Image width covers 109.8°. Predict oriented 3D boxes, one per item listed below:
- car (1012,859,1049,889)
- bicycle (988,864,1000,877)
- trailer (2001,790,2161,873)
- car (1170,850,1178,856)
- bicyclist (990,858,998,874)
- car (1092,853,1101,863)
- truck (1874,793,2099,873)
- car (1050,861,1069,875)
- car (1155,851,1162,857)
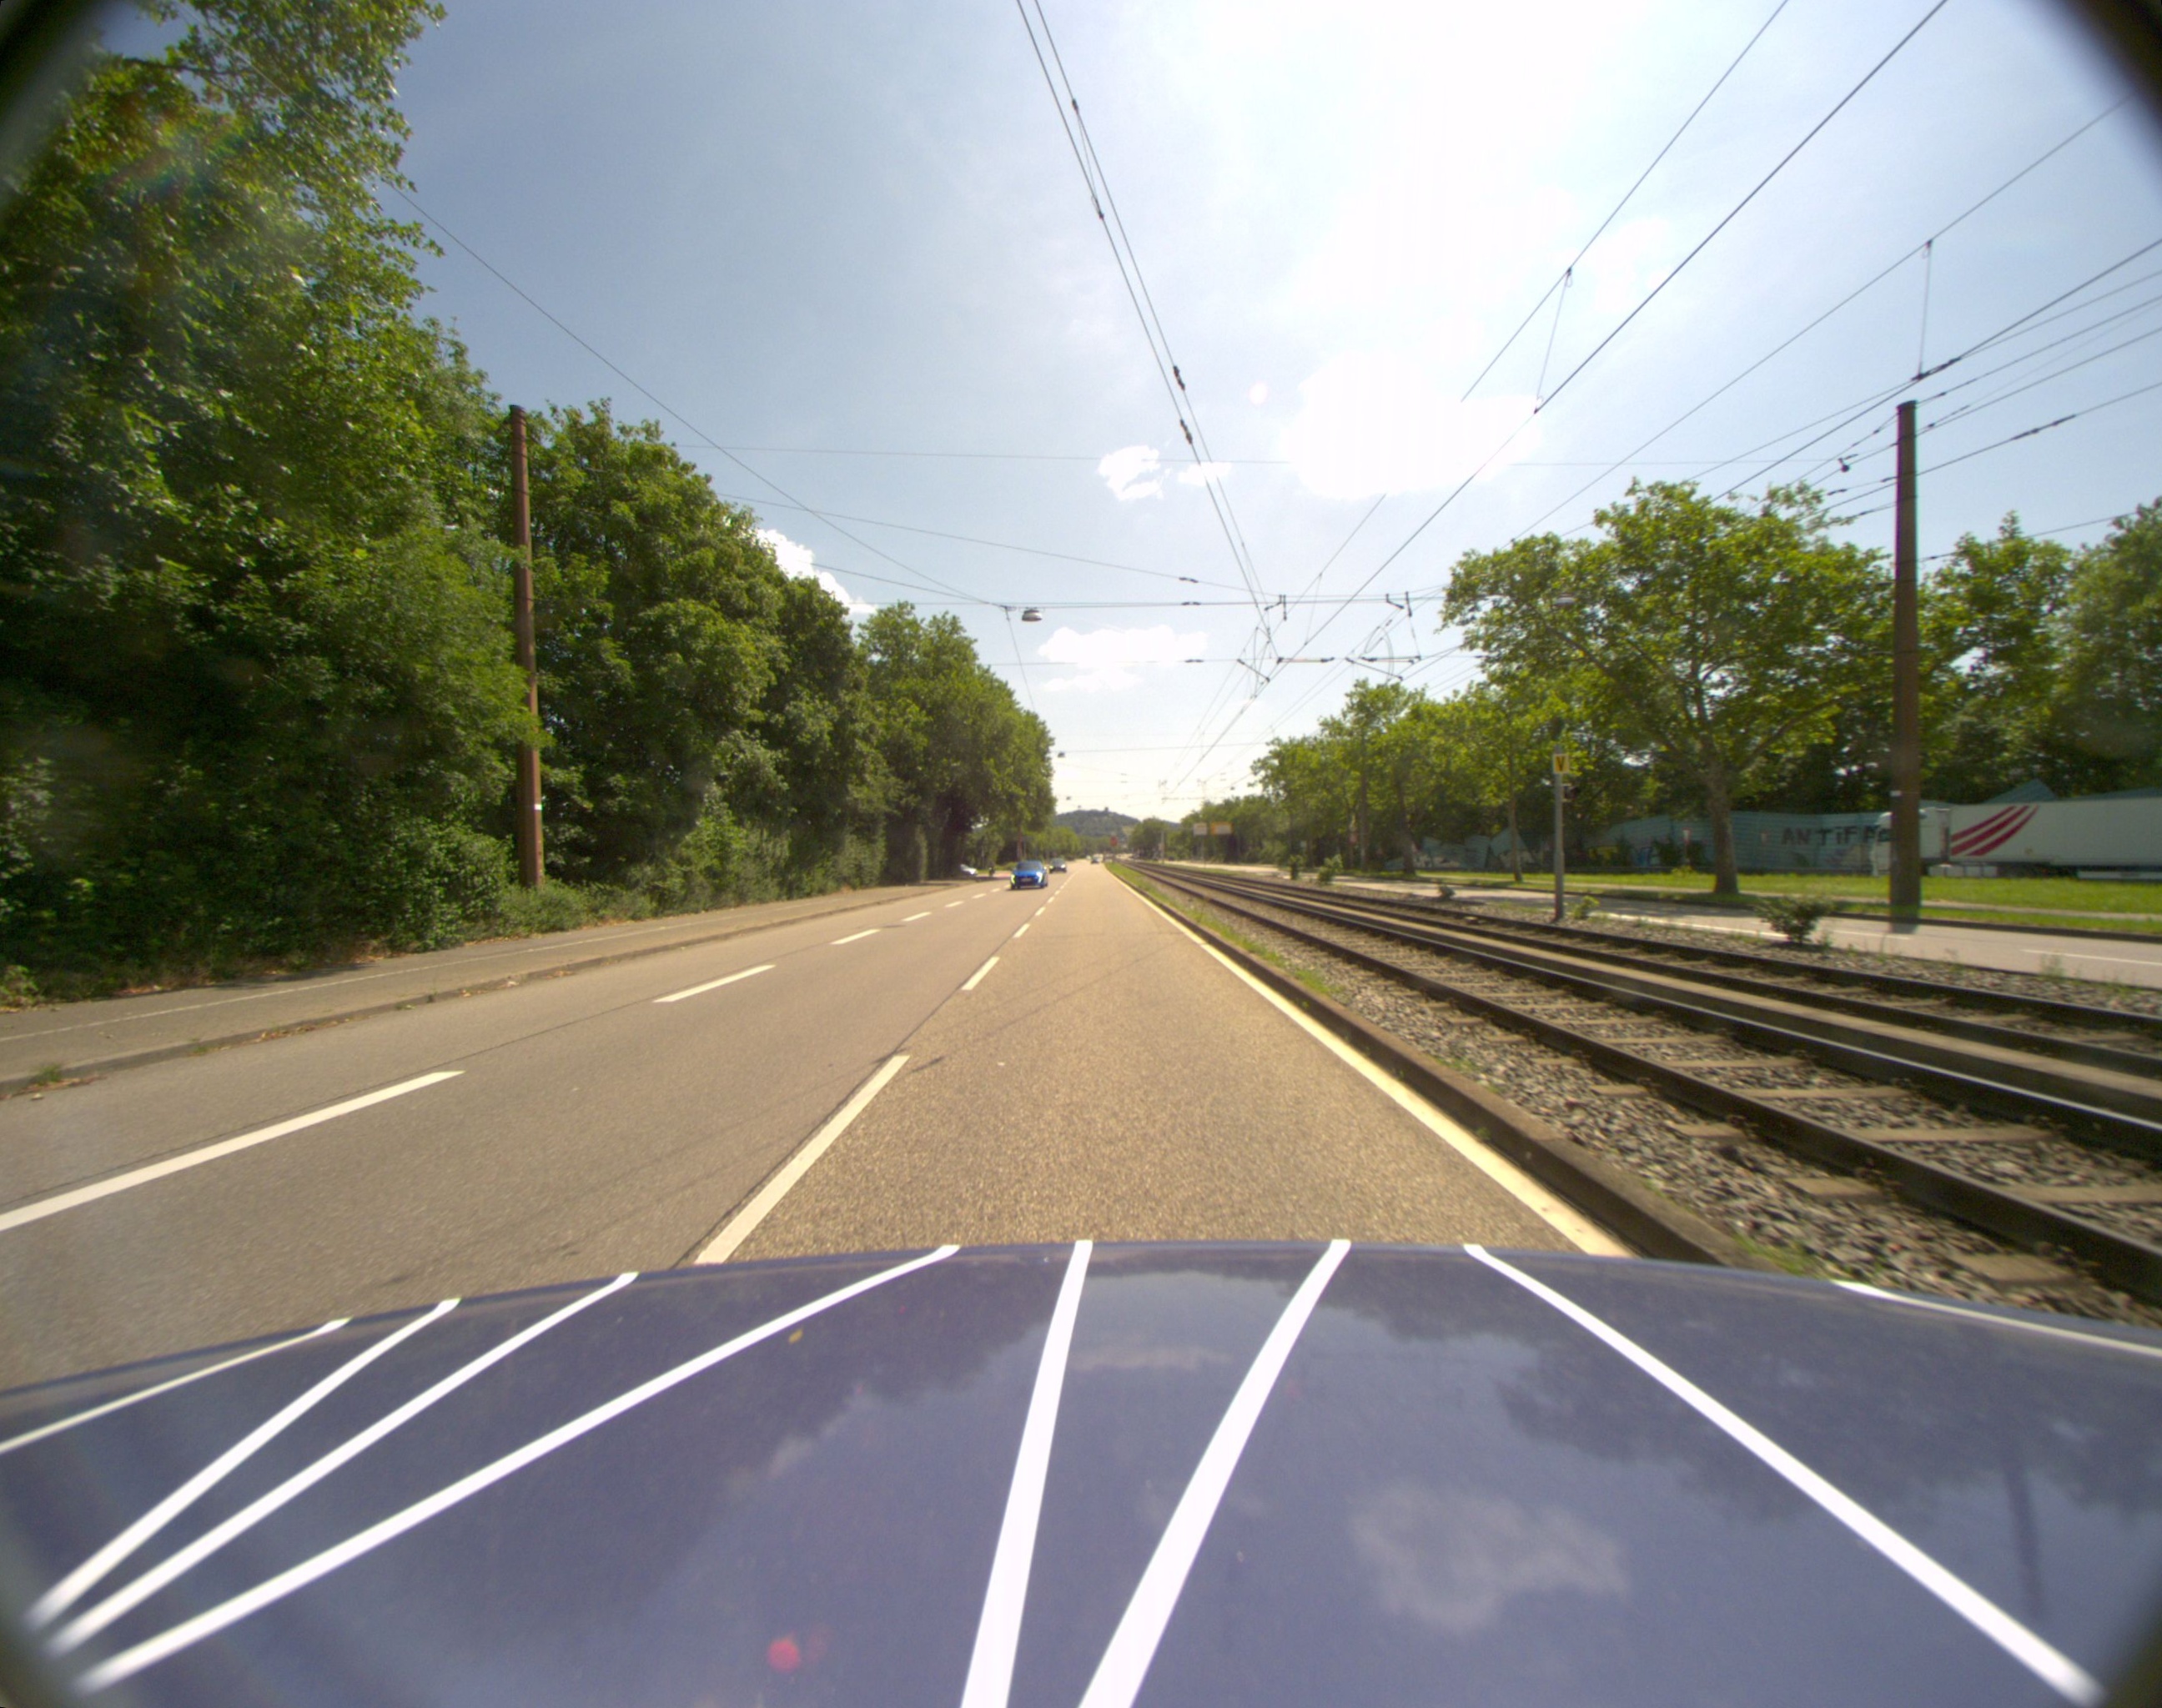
[{"bbox_3d":[-2.636,1.034,40.299,1.660,1.397,3.743,-2,1,0],"label":"car"},{"bbox_3d":[-8.154,1.567,71.236,0.710,1.131,2.538,-1,0,3],"label":"bicycle"},{"bbox_3d":[48.957,-1.004,32.290,3.393,3.633,12.084,-1,0,-24],"label":"trailer"},{"bbox_3d":[27.588,-0.357,224.895,1.998,1.783,4.000,-2,1,1],"label":"car"},{"bbox_3d":[-8.147,1.137,71.210,0.704,1.431,0.641,-1,1,2],"label":"bicyclist"},{"bbox_3d":[3.408,0.896,167.423,1.998,2.002,4.000,-2,1,1],"label":"car"},{"bbox_3d":[45.977,-0.992,38.874,3.423,3.680,6.746,-1,0,-25],"label":"truck"},{"bbox_3d":[-2.327,1.476,81.877,1.769,1.359,3.743,-2,1,1],"label":"car"},{"bbox_3d":[24.124,0.009,236.465,1.998,1.783,4.000,-2,1,1],"label":"car"}]
